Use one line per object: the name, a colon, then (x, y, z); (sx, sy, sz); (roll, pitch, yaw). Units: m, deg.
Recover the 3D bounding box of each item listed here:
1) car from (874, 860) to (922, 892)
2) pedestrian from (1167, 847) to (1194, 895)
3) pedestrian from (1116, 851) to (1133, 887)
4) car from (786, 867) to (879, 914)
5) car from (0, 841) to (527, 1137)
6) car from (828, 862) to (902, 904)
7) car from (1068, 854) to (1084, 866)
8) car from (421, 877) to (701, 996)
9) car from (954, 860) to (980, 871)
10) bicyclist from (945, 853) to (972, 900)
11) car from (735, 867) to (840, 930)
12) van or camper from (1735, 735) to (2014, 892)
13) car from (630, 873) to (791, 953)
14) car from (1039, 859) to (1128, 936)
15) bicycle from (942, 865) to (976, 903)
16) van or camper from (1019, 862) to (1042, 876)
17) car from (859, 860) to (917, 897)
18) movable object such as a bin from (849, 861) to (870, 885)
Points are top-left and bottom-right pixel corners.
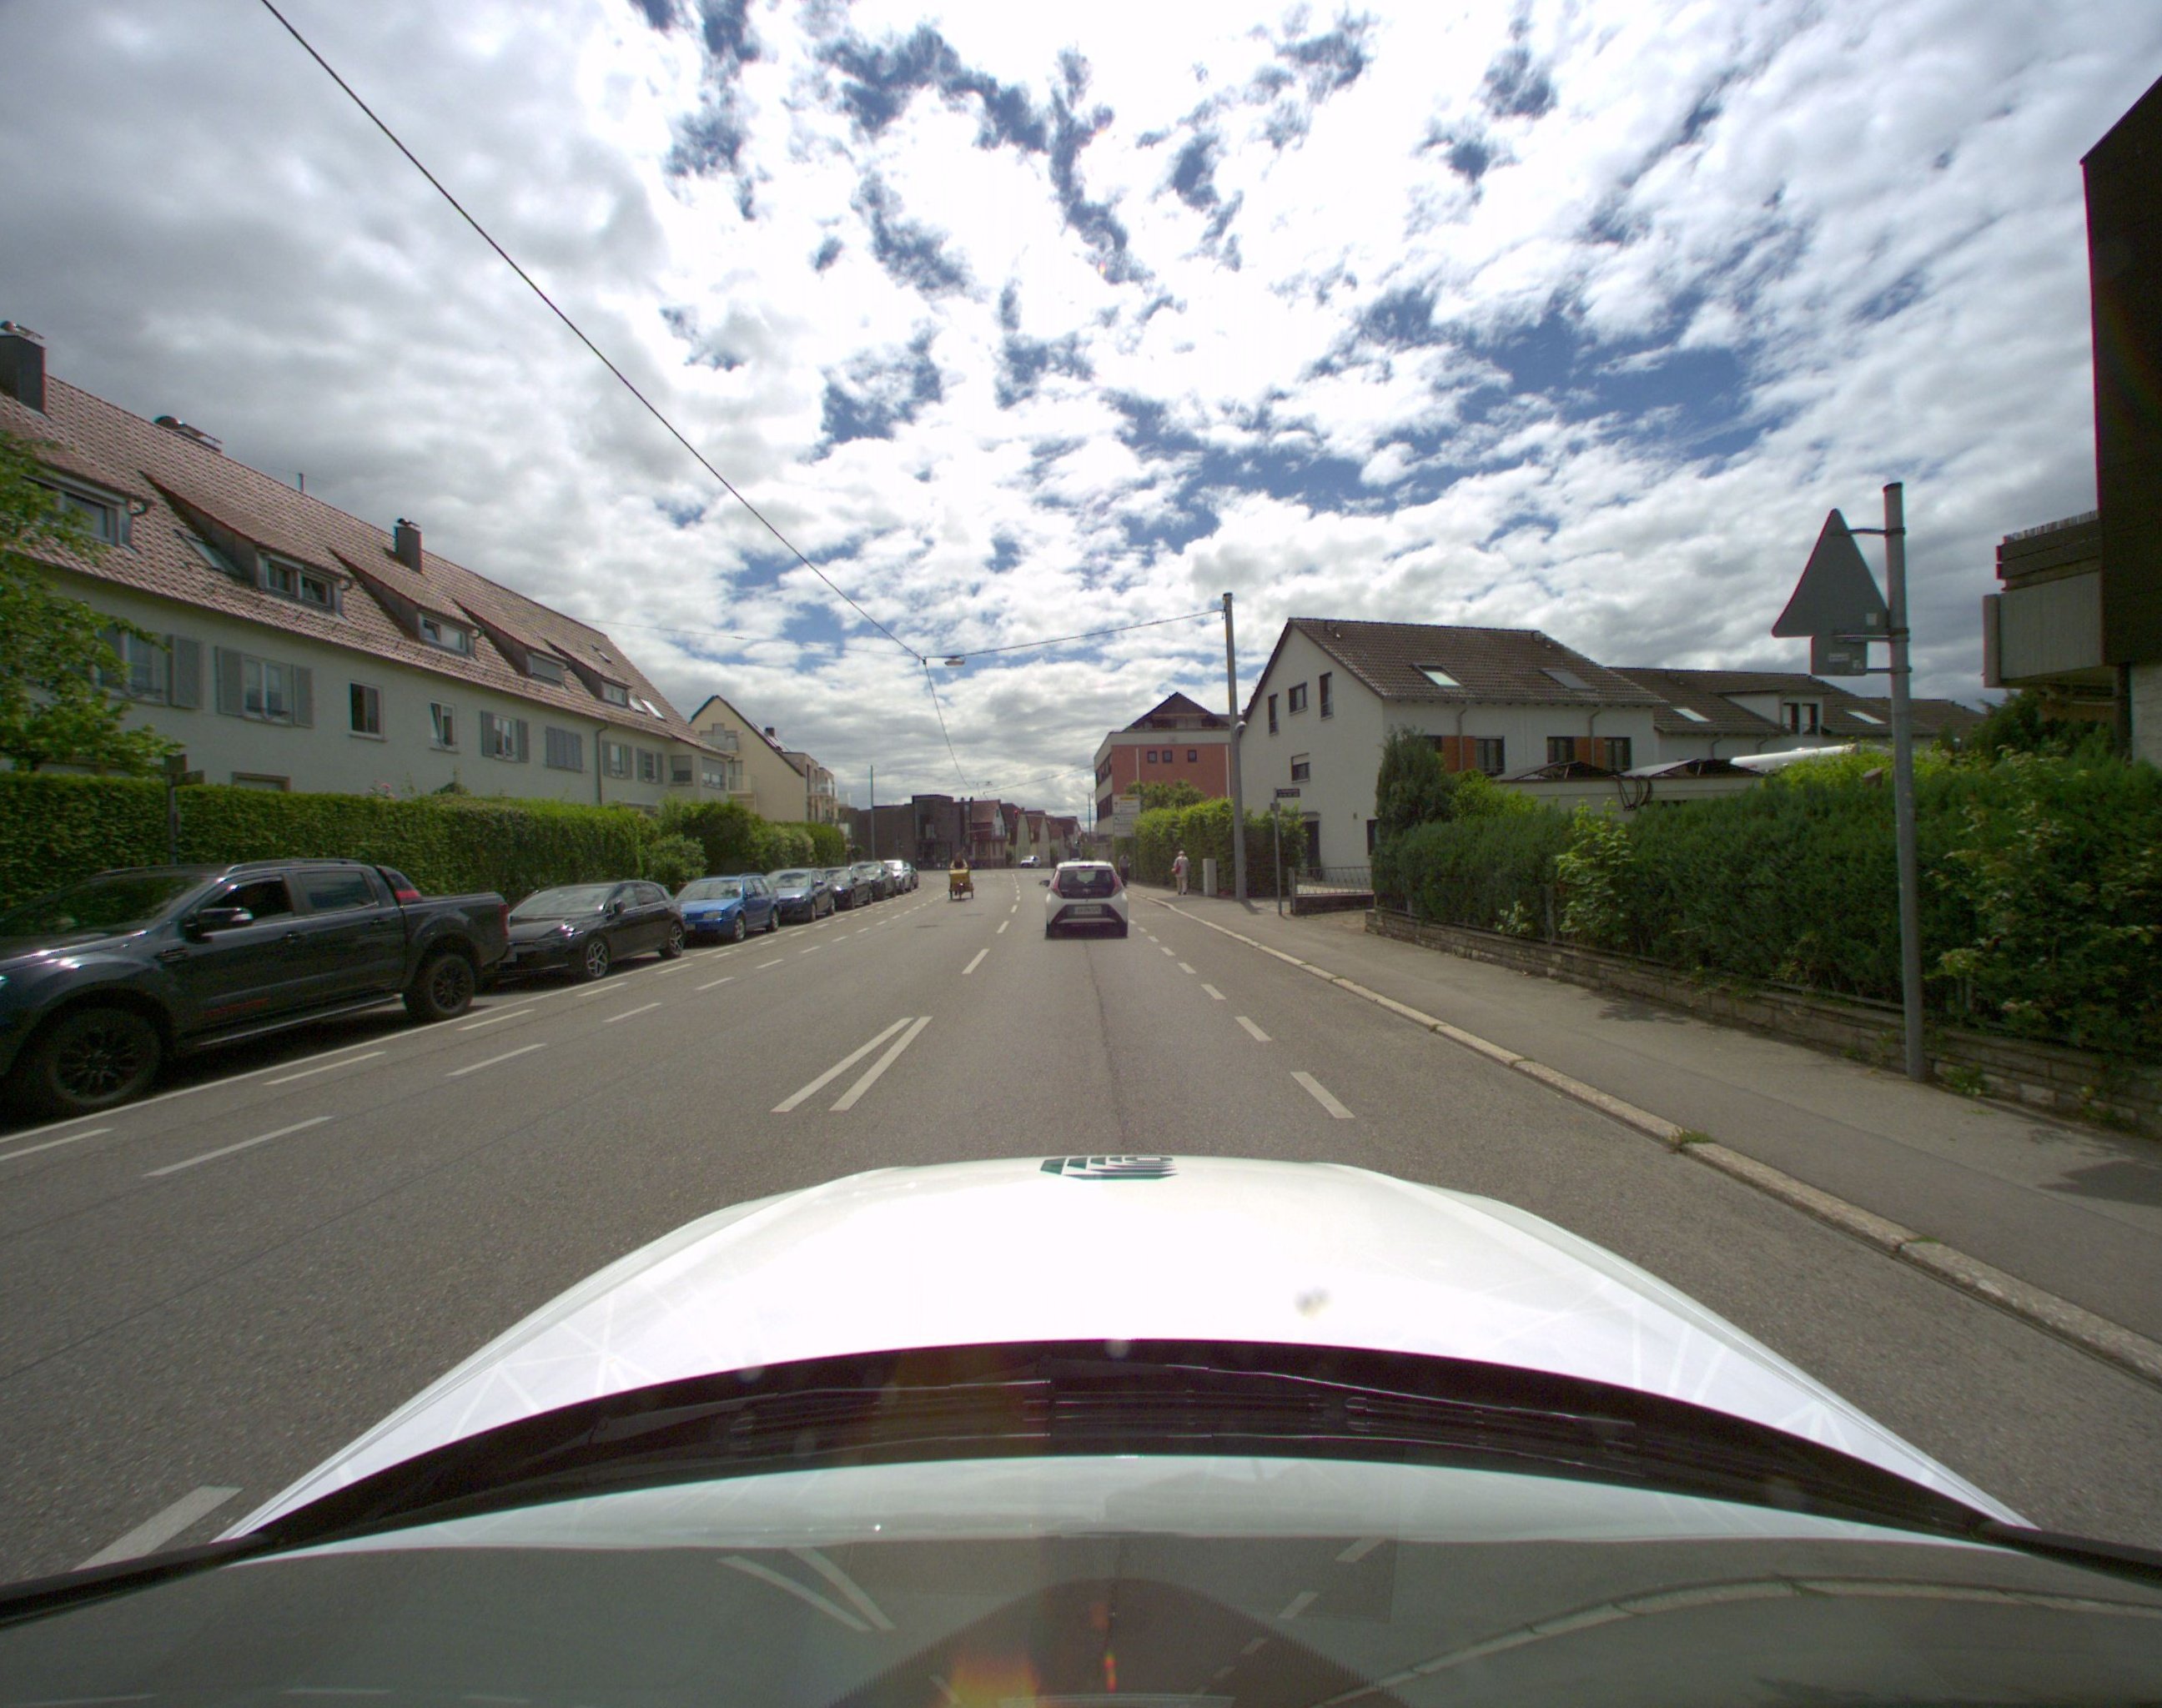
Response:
car: (-10.055, 1.189, 45.004); (1.991, 1.587, 4.480); (-2, 0, -6)
pedestrian: (3.529, 0.599, 28.913); (0.797, 1.617, 0.652); (-3, 0, -3)
pedestrian: (2.043, 0.690, 38.139); (0.601, 1.605, 0.835); (-4, 0, -3)
car: (-8.702, 1.215, 28.989); (1.988, 1.408, 4.685); (-2, 0, -2)
car: (-7.990, 0.934, 7.547); (1.988, 1.895, 5.400); (-4, 0, -1)
car: (-9.083, 1.187, 34.632); (1.988, 1.564, 4.685); (-2, 0, -2)
car: (-0.843, 0.987, 134.186); (1.981, 1.904, 4.011); (0, -1, 10)
car: (-7.981, 1.165, 13.090); (1.773, 1.417, 4.336); (-2, 0, -2)
car: (-17.119, 1.761, 122.399); (3.595, 1.605, 1.695); (0, -1, 7)
bicyclist: (-4.604, 0.828, 30.695); (0.789, 1.713, 1.208); (-2, 0, 0)
car: (-8.290, 1.189, 23.411); (1.776, 1.491, 4.555); (-2, 0, -7)
van or camper: (19.848, -0.826, 20.202); (8.704, 3.302, 2.397); (0, -1, -28)
car: (-8.136, 1.217, 18.387); (1.774, 1.417, 4.434); (-2, 0, -4)
car: (0.066, 0.830, 17.079); (1.691, 1.456, 3.299); (0, -1, 0)
bicycle: (-4.583, 1.115, 30.731); (0.861, 1.301, 2.660); (-2, 0, 0)
van or camper: (-7.323, 2.146, 117.853); (2.102, 1.926, 5.301); (0, -1, 11)
car: (-9.360, 1.136, 39.822); (1.990, 1.651, 4.510); (-2, 0, -4)
movable object such as a bin: (-14.133, 1.219, 51.995); (1.064, 1.482, 1.211); (-2, 0, -6)
